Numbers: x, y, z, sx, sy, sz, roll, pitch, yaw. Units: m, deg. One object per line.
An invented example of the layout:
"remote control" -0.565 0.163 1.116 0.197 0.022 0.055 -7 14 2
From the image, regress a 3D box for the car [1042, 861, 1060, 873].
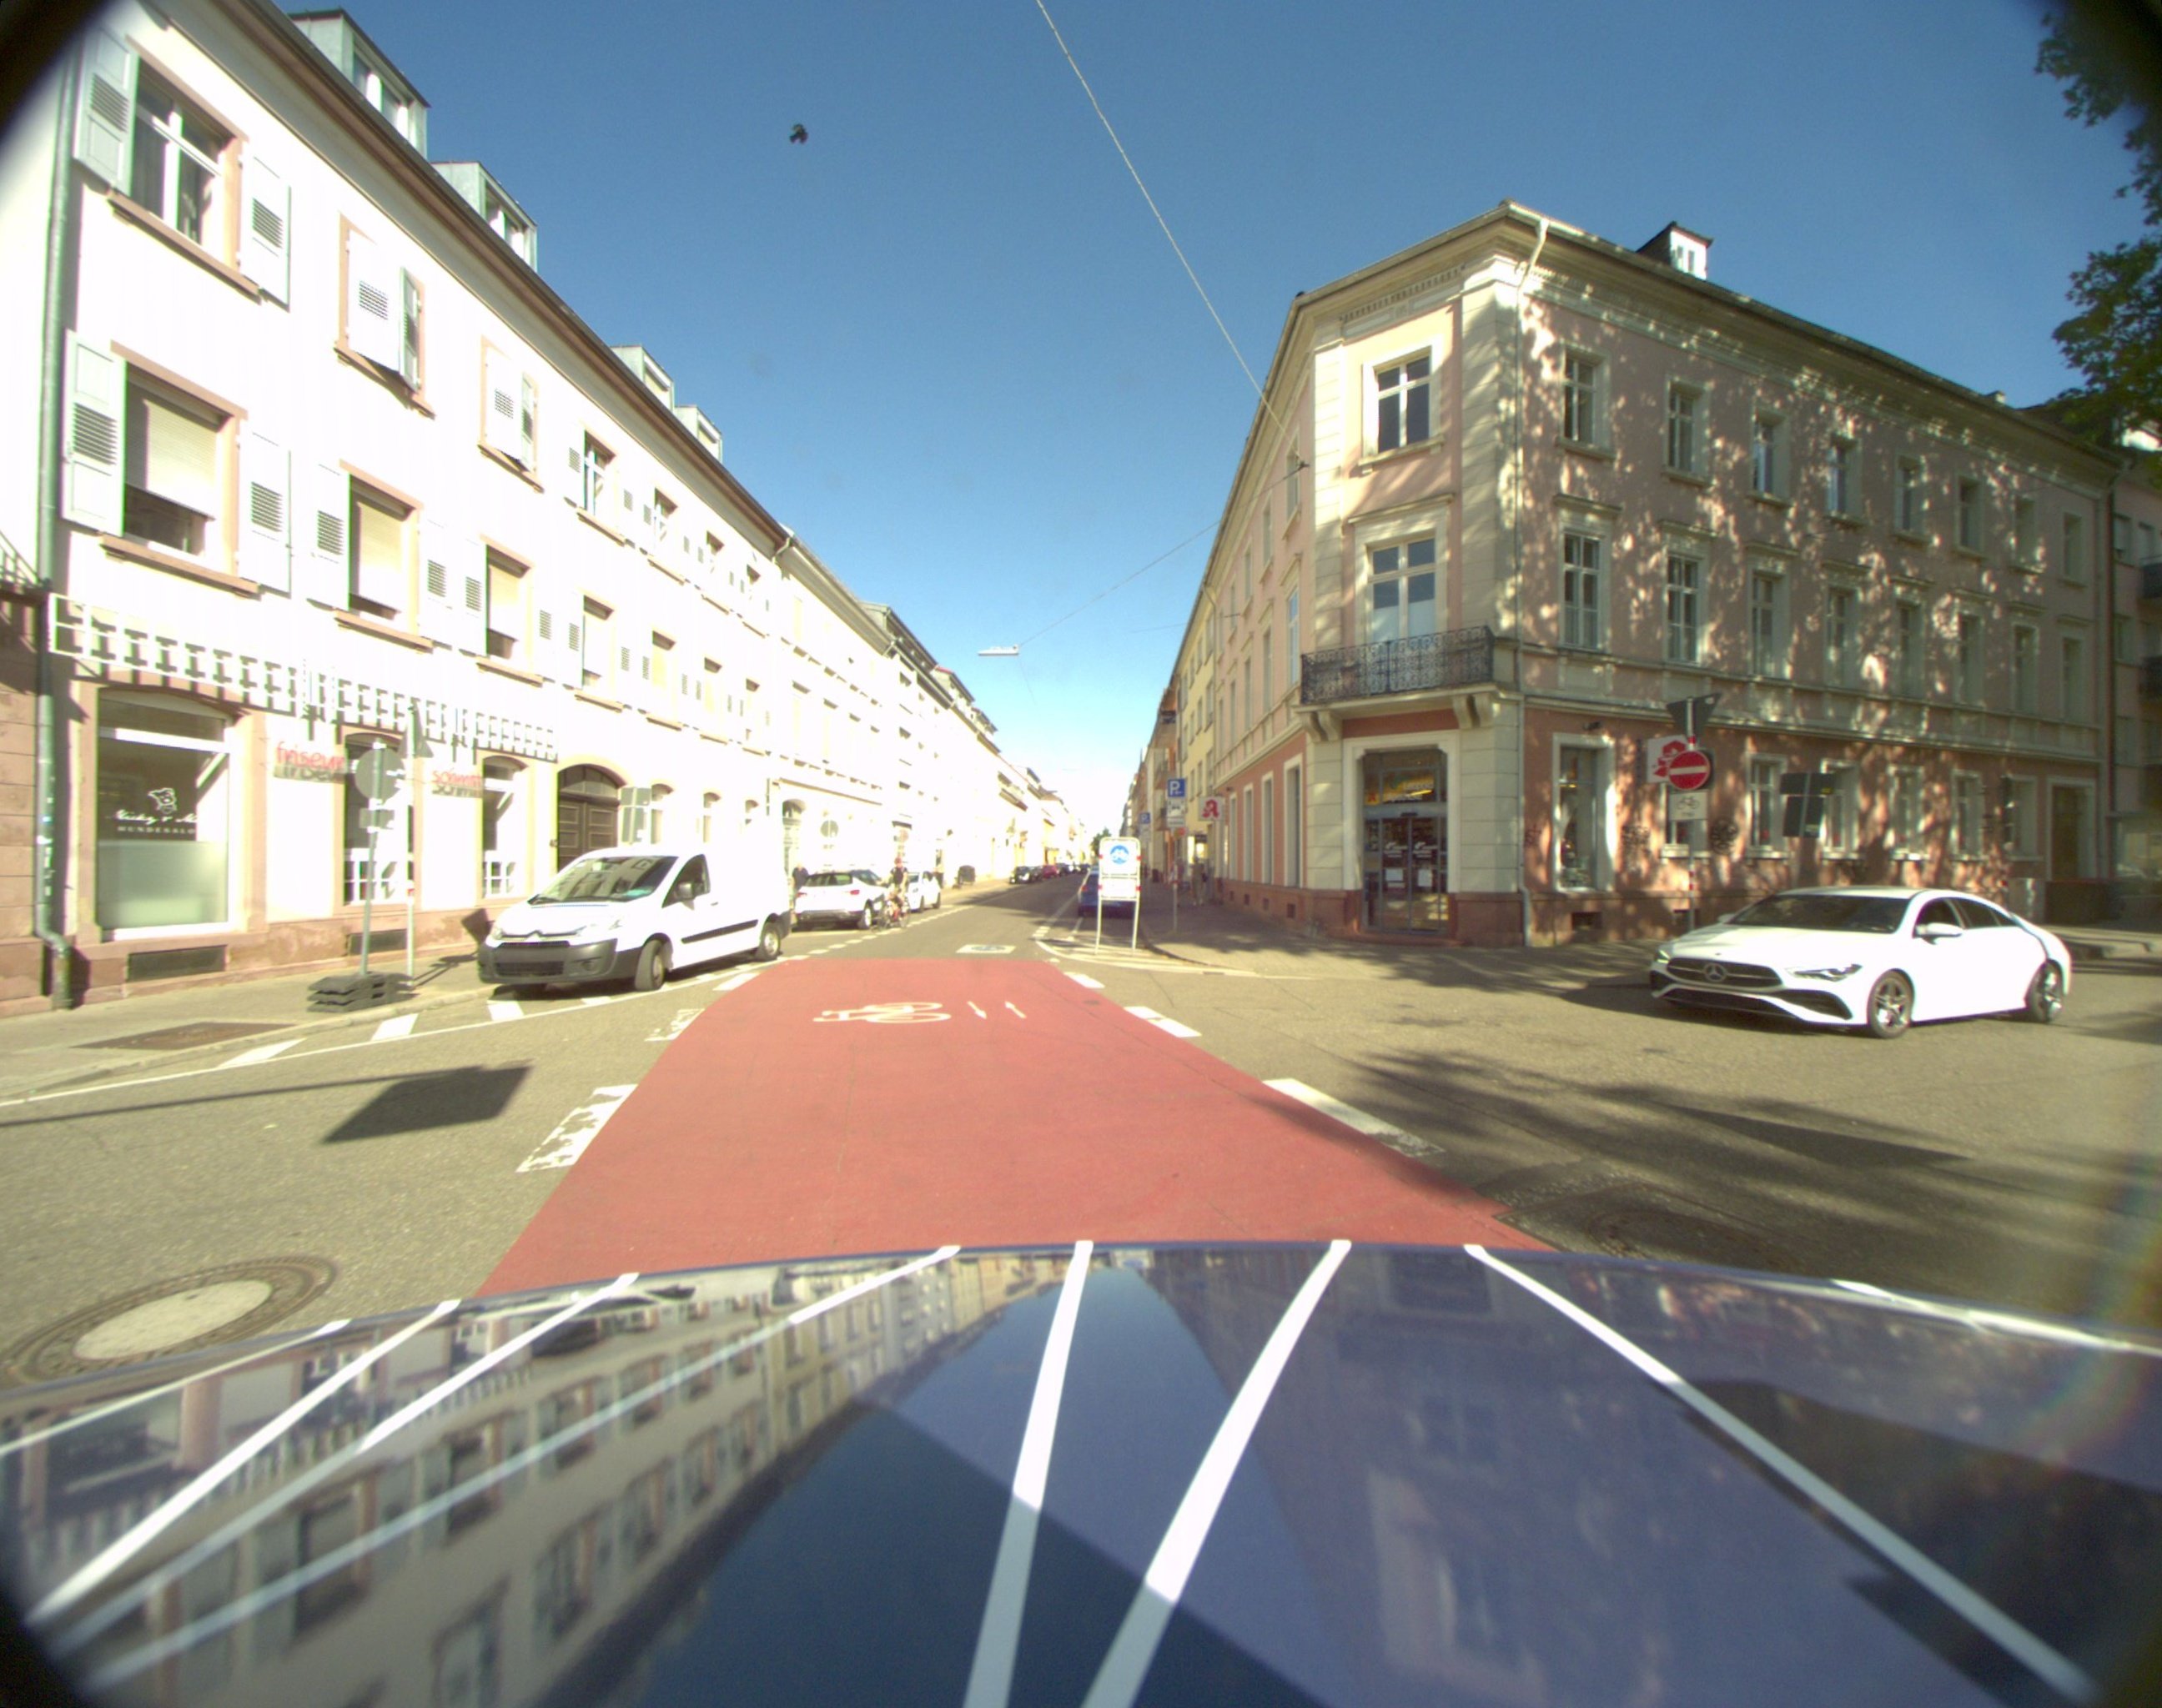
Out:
"car" -3.392 1.476 86.724 1.705 1.292 3.640 0 0 2

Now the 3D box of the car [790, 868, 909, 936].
"car" -5.964 1.187 20.150 1.644 1.532 4.384 -1 -1 2

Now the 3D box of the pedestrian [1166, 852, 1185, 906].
"pedestrian" 3.326 0.864 26.620 0.570 1.846 0.707 -3 0 8

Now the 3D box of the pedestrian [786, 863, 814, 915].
"pedestrian" -8.613 1.061 23.309 0.584 1.591 0.639 0 0 4

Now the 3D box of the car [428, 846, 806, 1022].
"car" -6.075 0.911 10.938 2.048 1.934 5.028 0 -1 5

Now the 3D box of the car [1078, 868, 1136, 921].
"car" 0.860 1.259 24.837 1.705 1.425 3.639 2 1 2

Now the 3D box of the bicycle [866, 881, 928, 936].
"bicycle" -4.513 1.319 18.771 0.671 1.192 1.927 0 1 13

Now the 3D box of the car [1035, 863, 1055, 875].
"car" -3.703 1.533 78.703 1.705 1.292 3.640 0 0 2

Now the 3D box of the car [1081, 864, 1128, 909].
"car" 0.948 1.247 30.145 1.705 1.528 3.639 2 1 2

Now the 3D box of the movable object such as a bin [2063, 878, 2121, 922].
"movable object such as a bin" 26.102 1.178 19.630 0.619 1.078 0.716 0 3 -22

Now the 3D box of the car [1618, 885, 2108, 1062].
"car" 8.411 1.113 8.231 4.566 1.448 1.861 0 -1 -18

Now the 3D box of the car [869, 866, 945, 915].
"car" -5.943 1.212 26.369 1.630 1.532 3.640 -1 -1 2

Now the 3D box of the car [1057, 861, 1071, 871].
"car" -2.354 1.618 103.822 1.705 1.292 3.640 0 0 2

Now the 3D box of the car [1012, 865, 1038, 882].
"car" -4.417 1.545 60.258 1.705 1.292 3.640 0 0 2

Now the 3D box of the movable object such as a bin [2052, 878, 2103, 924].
"movable object such as a bin" 24.409 1.149 18.620 0.612 1.053 0.569 0 3 -22

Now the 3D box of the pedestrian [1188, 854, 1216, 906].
"pedestrian" 4.248 0.902 26.626 0.830 1.754 0.752 -2 0 3

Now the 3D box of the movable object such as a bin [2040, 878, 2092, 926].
"movable object such as a bin" 23.858 1.151 18.411 0.655 1.078 0.569 0 3 -22

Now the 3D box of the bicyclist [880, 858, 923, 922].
"bicyclist" -4.471 0.877 18.948 0.637 1.537 1.026 0 0 13
